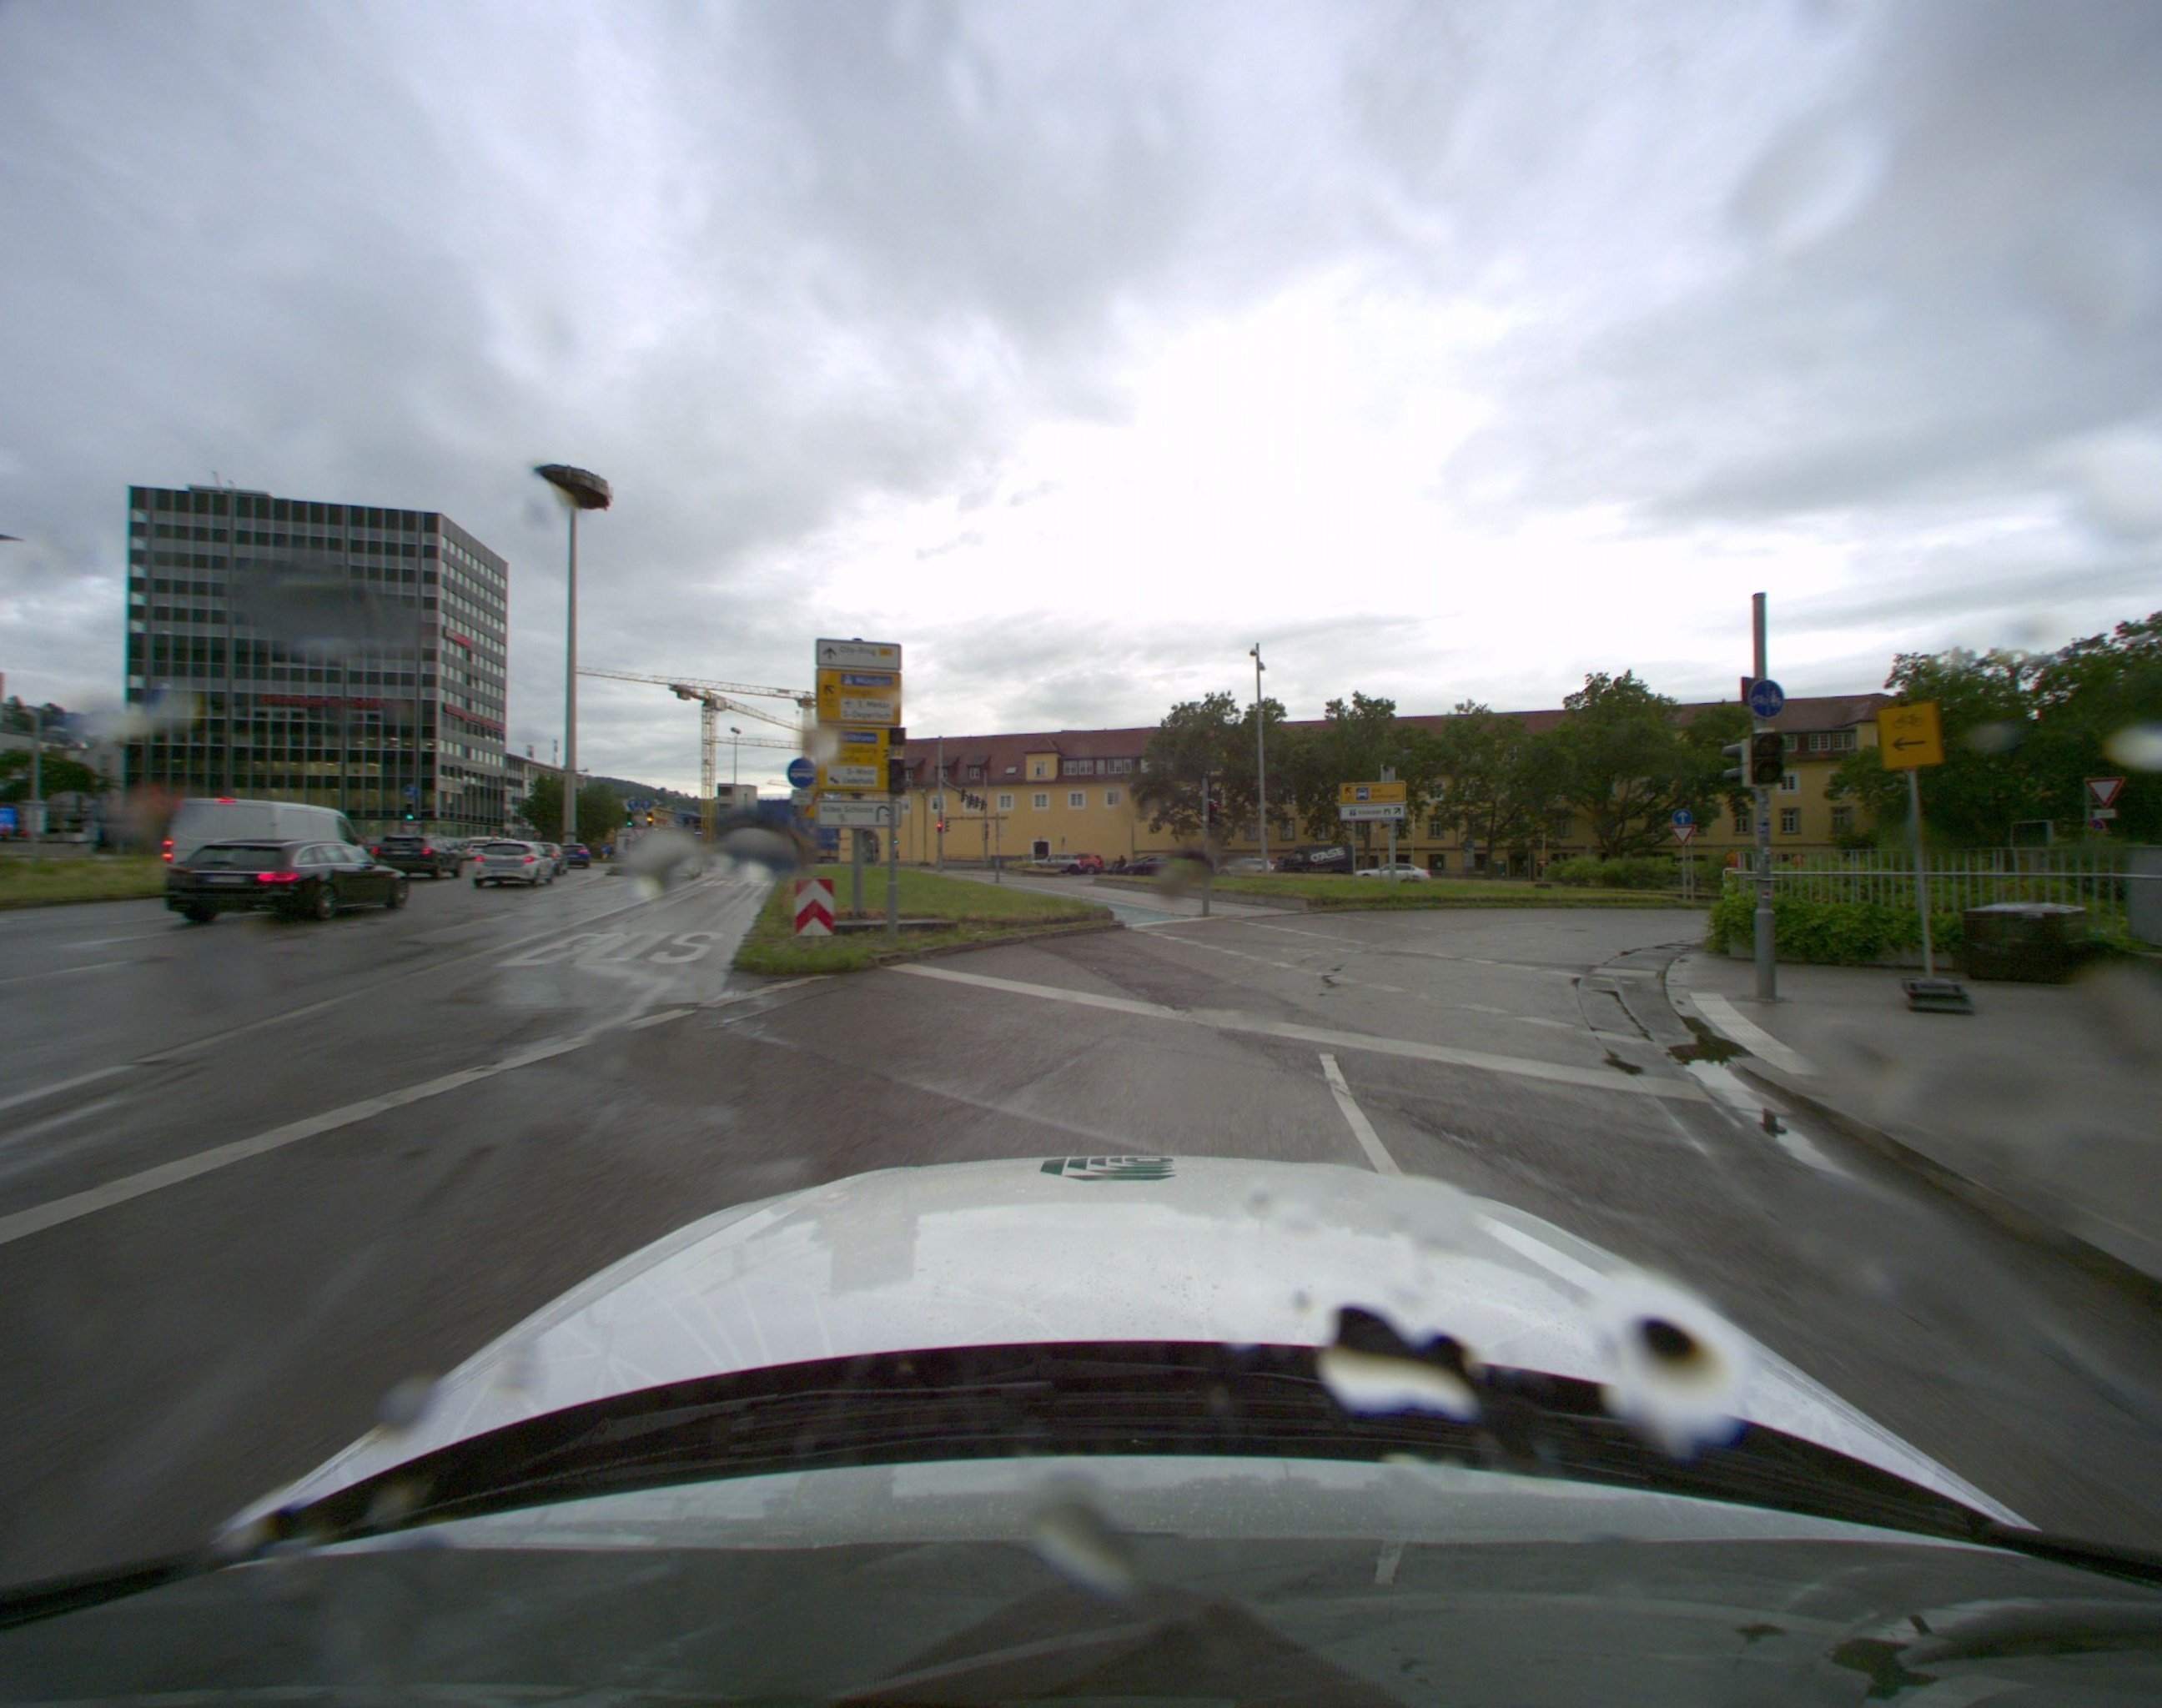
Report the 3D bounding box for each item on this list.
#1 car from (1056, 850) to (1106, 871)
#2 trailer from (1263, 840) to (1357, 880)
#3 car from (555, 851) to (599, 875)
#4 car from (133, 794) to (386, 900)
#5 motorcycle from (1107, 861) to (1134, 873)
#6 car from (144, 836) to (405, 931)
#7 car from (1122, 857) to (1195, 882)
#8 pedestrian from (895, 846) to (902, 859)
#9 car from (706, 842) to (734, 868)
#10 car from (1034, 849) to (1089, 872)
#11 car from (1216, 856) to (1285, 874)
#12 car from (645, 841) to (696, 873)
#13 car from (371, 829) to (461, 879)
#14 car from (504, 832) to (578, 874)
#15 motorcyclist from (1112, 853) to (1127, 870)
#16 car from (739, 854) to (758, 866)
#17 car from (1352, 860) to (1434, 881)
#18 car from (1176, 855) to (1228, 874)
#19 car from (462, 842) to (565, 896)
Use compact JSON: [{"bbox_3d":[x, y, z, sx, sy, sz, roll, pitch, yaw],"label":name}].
[{"bbox_3d":[0.020,0.506,59.674,3.381,1.472,1.656,1,-2,7],"label":"car"},{"bbox_3d":[14.182,0.425,50.481,5.415,2.258,2.009,-2,-3,18],"label":"trailer"},{"bbox_3d":[-30.515,0.544,49.335,1.497,1.369,3.015,1,-2,-17],"label":"car"},{"bbox_3d":[-20.422,-0.085,20.668,2.297,2.314,4.978,1,-2,-16],"label":"car"},{"bbox_3d":[3.020,0.996,62.098,1.954,0.852,0.546,1,-2,5],"label":"motorcycle"},{"bbox_3d":[-14.183,0.460,14.623,1.833,1.494,3.382,1,0,-15],"label":"car"},{"bbox_3d":[5.474,1.110,57.610,4.758,1.709,2.011,0,-2,26],"label":"car"},{"bbox_3d":[-18.631,-0.138,83.241,0.451,1.368,0.446,0,-2,21],"label":"pedestrian"},{"bbox_3d":[-25.754,0.040,58.146,1.674,1.741,3.263,2,1,-23],"label":"car"},{"bbox_3d":[-1.257,0.452,54.192,3.382,1.482,1.839,1,-2,8],"label":"car"},{"bbox_3d":[11.445,0.728,55.083,4.323,1.140,1.551,0,-2,40],"label":"car"},{"bbox_3d":[-18.063,0.165,35.931,1.446,1.359,2.400,1,-2,-14],"label":"car"},{"bbox_3d":[-23.967,0.038,29.479,1.468,1.706,3.121,1,-2,-19],"label":"car"},{"bbox_3d":[-23.641,0.000,35.814,1.720,1.727,3.474,1,-2,-17],"label":"car"},{"bbox_3d":[2.951,0.601,62.060,1.070,1.273,0.692,1,-2,4],"label":"motorcyclist"},{"bbox_3d":[-38.726,0.708,94.937,1.719,1.365,3.050,1,-2,-17],"label":"car"},{"bbox_3d":[21.714,1.172,56.834,5.246,1.361,1.564,0,-2,15],"label":"car"},{"bbox_3d":[9.005,0.761,60.495,3.566,1.337,1.585,0,-2,19],"label":"car"},{"bbox_3d":[-18.736,0.515,27.050,1.886,1.653,3.435,1,-2,-20],"label":"car"}]
